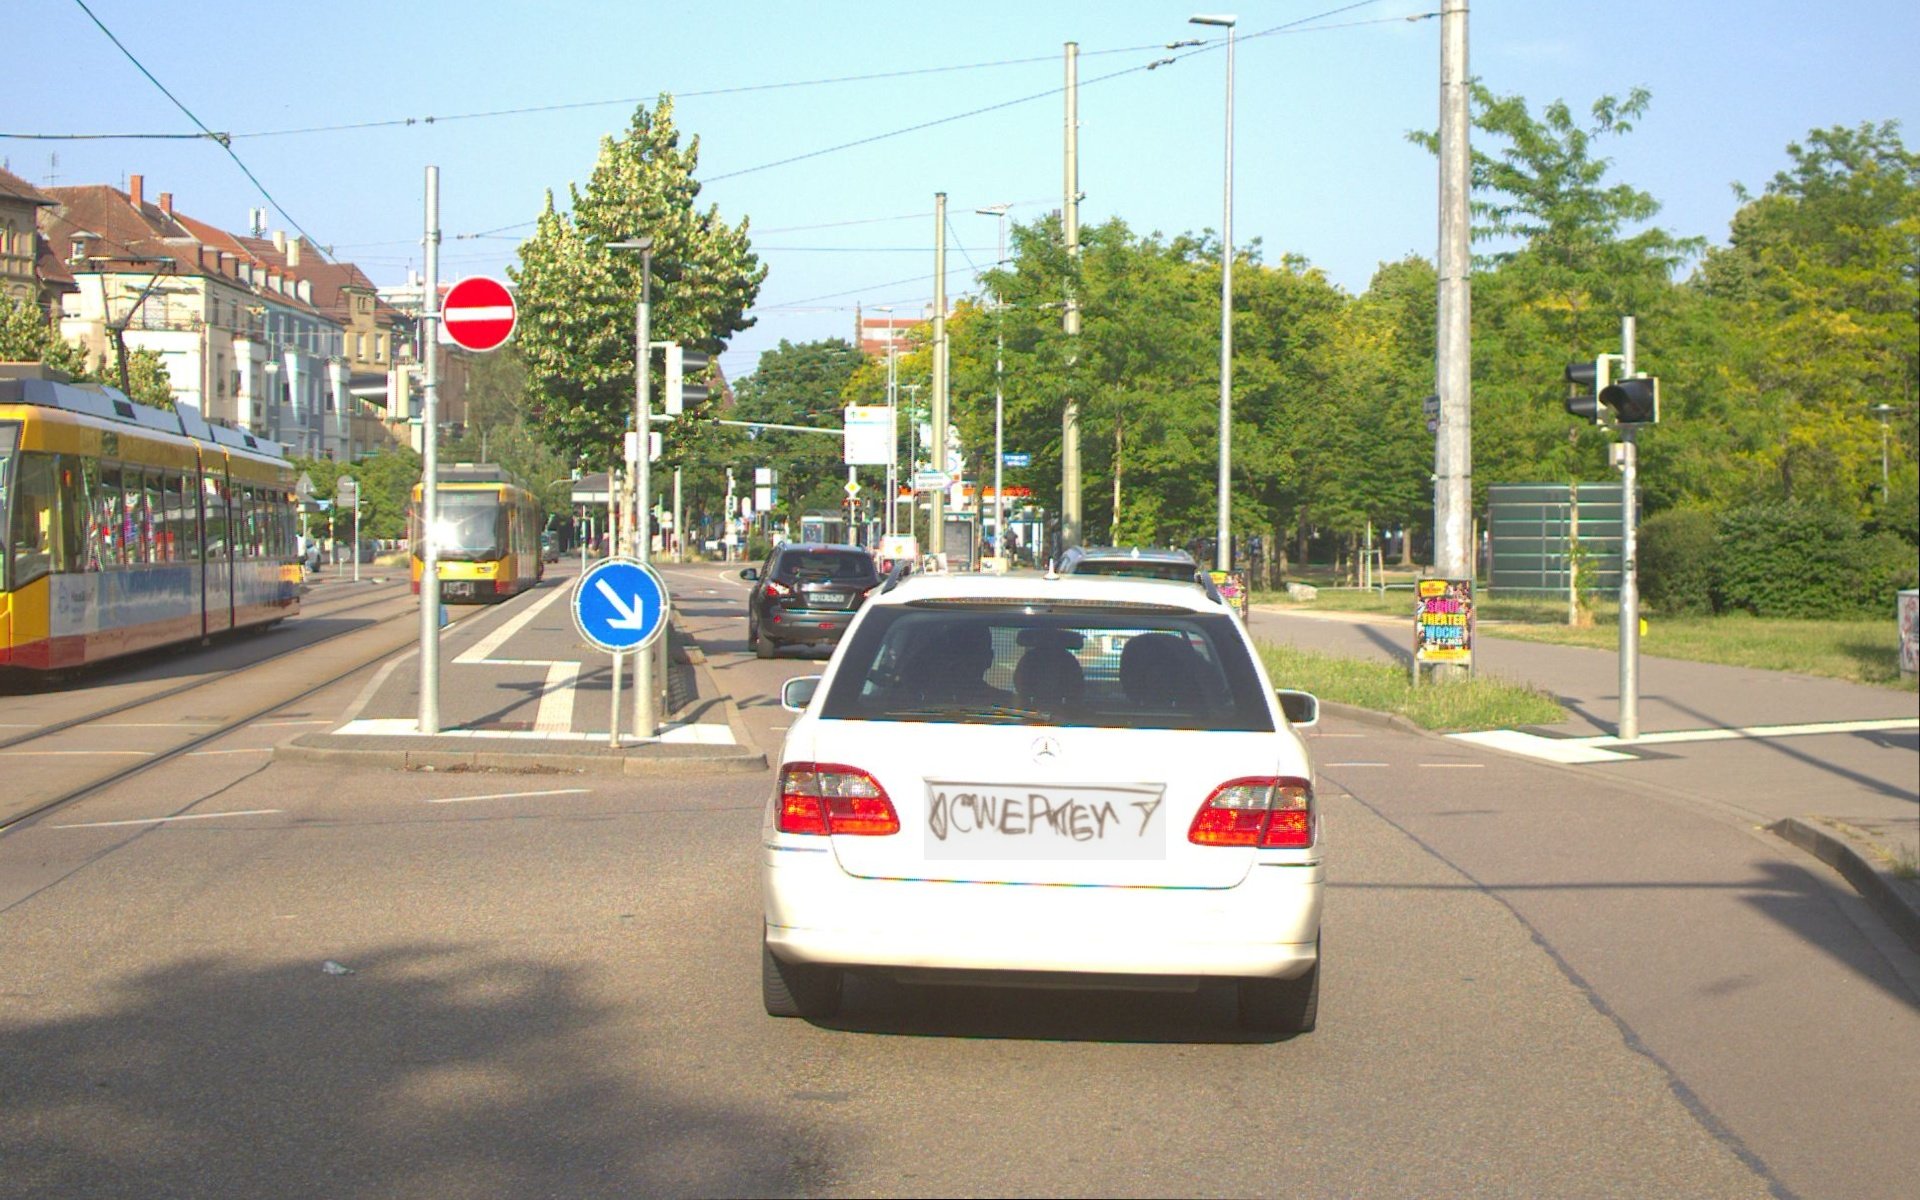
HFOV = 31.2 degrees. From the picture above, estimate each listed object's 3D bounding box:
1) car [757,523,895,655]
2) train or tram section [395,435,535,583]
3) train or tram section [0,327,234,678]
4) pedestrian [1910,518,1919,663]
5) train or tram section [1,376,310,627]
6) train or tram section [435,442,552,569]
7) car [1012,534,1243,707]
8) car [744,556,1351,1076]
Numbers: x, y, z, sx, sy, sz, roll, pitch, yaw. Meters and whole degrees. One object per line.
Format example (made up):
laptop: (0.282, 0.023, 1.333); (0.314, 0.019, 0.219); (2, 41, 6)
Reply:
car: (-1.811, -0.190, 47.347); (1.787, 1.684, 4.000); (1, 1, -1)
train or tram section: (-12.725, -2.379, 89.369); (2.849, 3.467, 13.203); (2, 2, -5)
train or tram section: (-11.043, -1.179, 41.239); (3.161, 3.467, 14.536); (1, 1, -7)
pedestrian: (7.129, 0.249, 24.188); (0.615, 1.686, 0.548); (-4, 1, -1)
train or tram section: (-12.673, -1.568, 55.569); (3.161, 3.467, 14.476); (1, 1, -7)
train or tram section: (-13.767, -2.803, 102.317); (2.849, 3.467, 13.203); (1, 1, -5)
car: (1.640, 0.159, 34.995); (2.033, 1.600, 4.001); (1, 1, -1)
car: (0.142, 0.602, 11.974); (1.758, 1.498, 4.001); (0, 1, -3)
